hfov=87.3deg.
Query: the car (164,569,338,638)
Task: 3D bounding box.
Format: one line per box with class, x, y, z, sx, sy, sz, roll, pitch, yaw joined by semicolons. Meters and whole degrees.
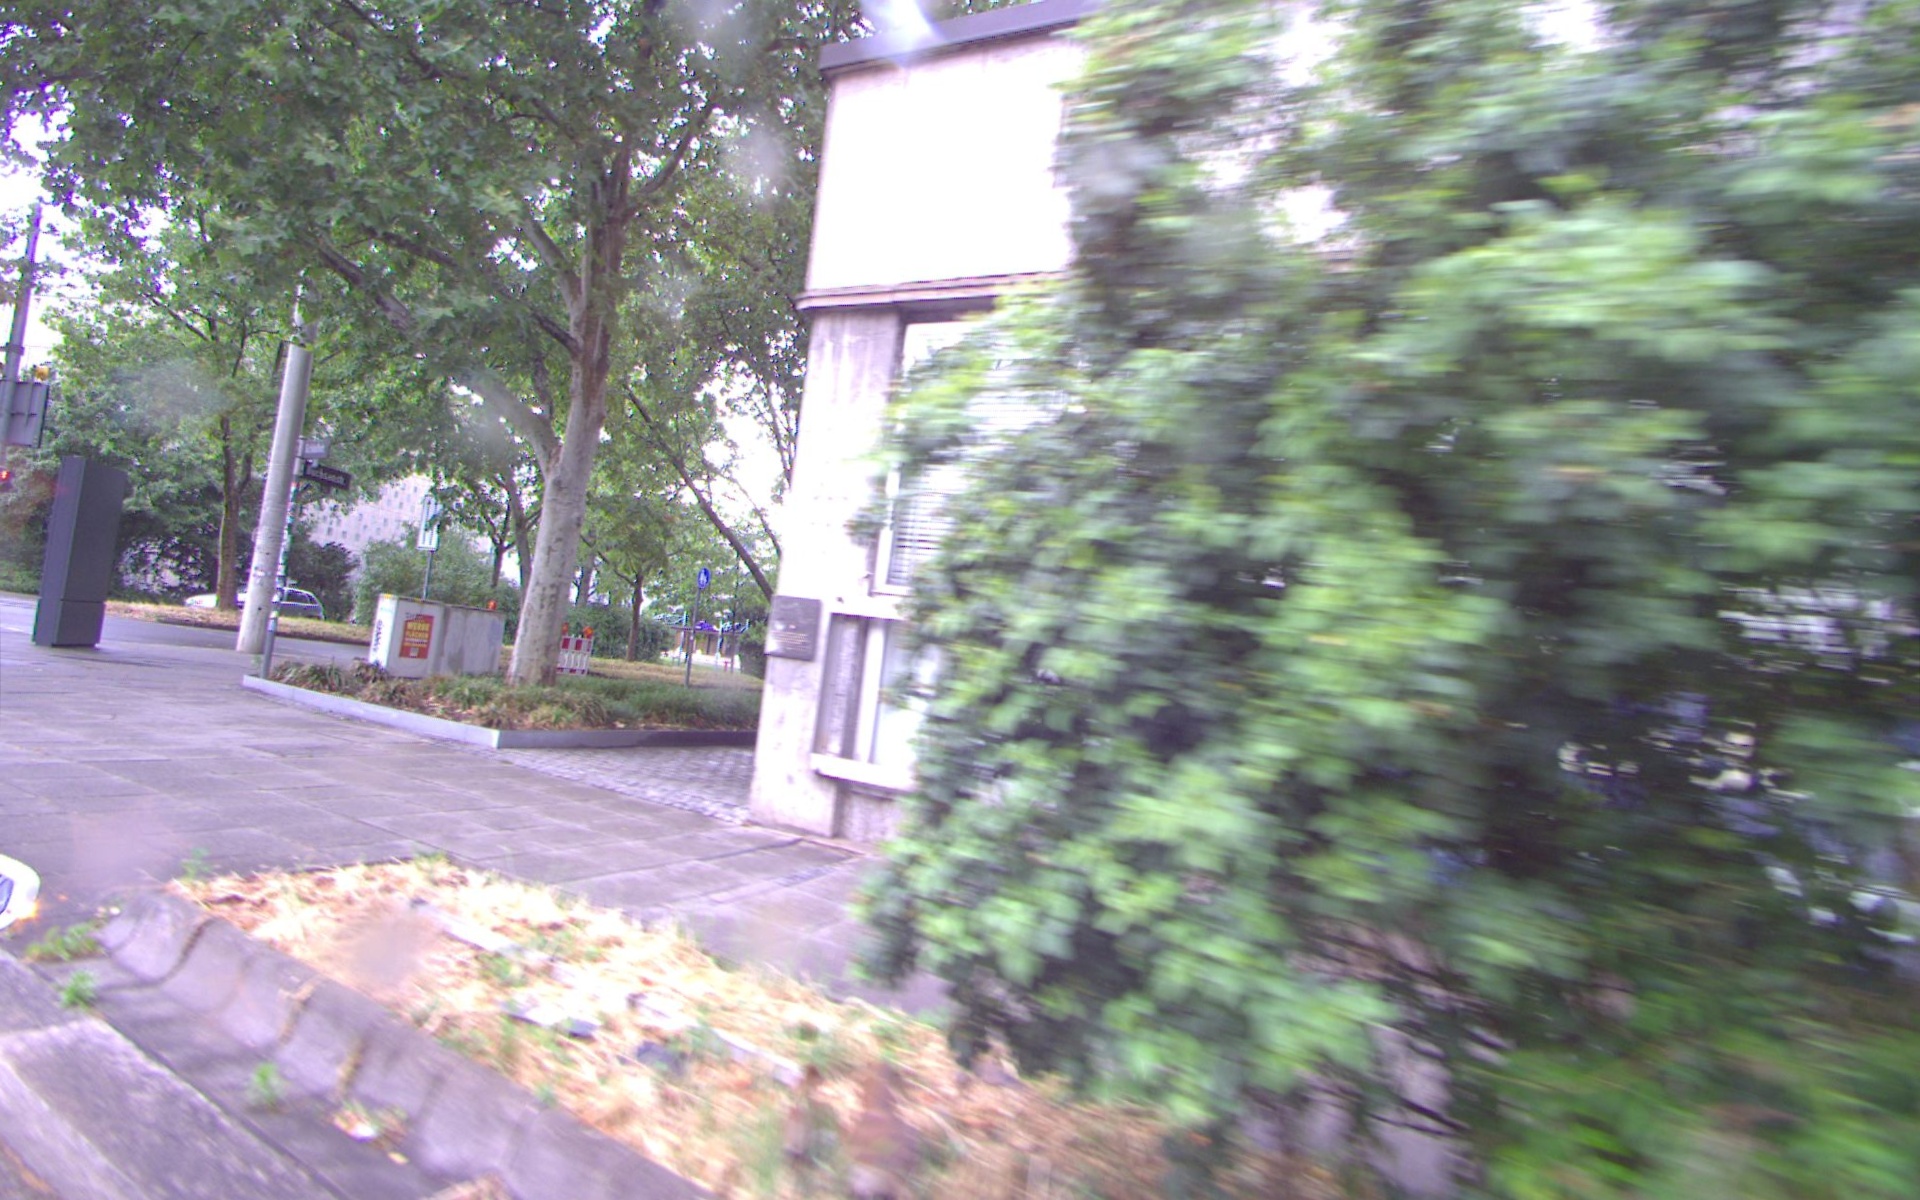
car;-22.750;0.160;32.448;1.964;1.456;4.007;6;-6;25
